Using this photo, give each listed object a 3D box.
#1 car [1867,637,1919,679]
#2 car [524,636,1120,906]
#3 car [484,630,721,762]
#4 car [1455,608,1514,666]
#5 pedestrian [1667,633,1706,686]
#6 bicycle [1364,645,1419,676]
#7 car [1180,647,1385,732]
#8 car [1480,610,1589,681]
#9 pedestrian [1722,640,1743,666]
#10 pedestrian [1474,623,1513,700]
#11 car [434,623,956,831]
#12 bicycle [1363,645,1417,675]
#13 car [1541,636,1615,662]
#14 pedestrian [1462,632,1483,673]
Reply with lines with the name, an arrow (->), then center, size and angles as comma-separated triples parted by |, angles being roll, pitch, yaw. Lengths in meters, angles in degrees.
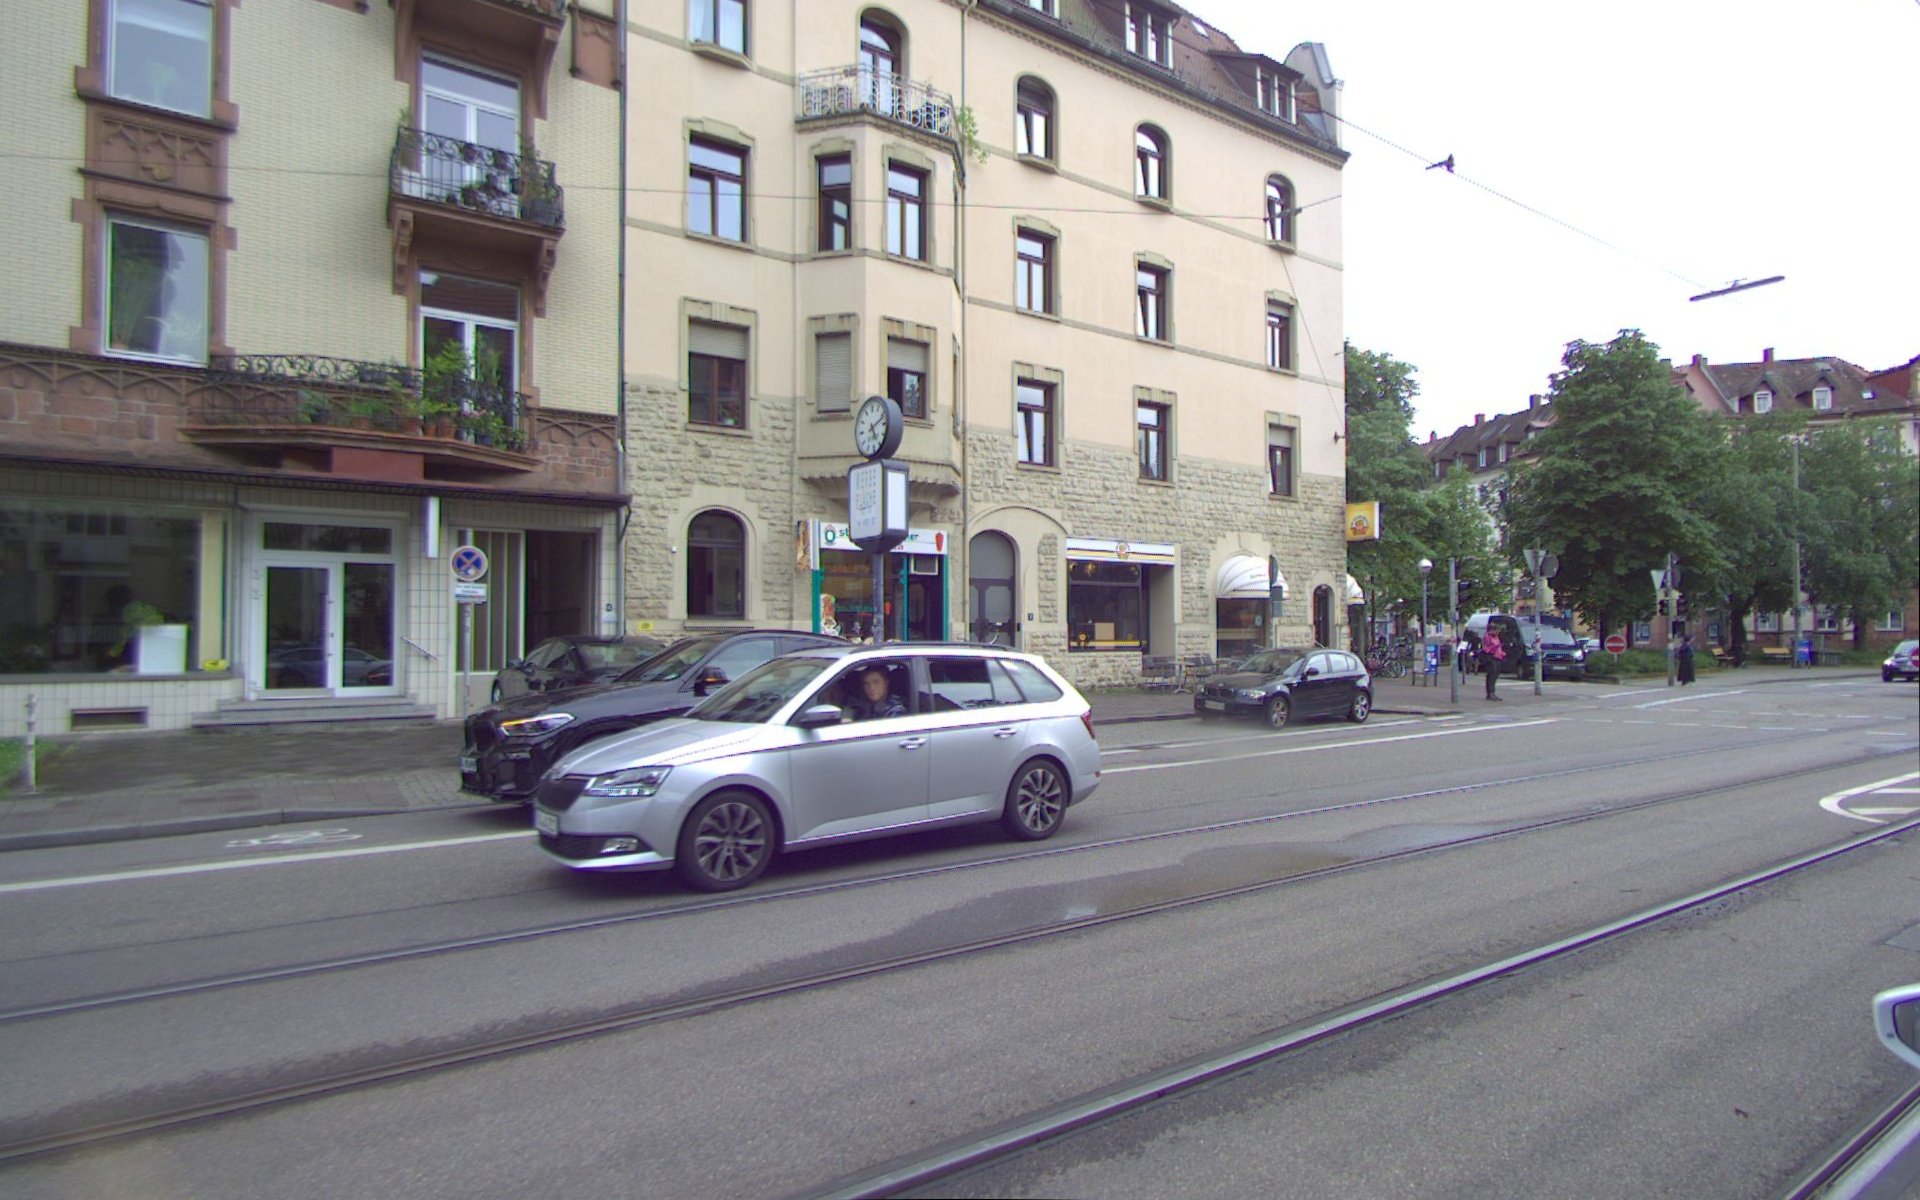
car -> 33.645, 2.012, 35.341 | 3.816, 1.400, 1.677 | 1, -3, -33
car -> -0.831, 0.997, 7.245 | 3.965, 1.429, 1.676 | 2, -4, -39
car -> -5.127, 1.189, 14.020 | 1.863, 1.388, 4.392 | 1, 0, -37
car -> 24.635, 1.743, 47.348 | 2.144, 2.560, 5.377 | -1, -2, 25
pedestrian -> 23.390, 1.908, 32.341 | 0.584, 1.685, 0.832 | 1, -2, -31
bicycle -> 15.689, 2.197, 36.555 | 1.777, 1.091, 0.359 | 0, -2, 11
car -> 6.249, 1.633, 19.299 | 4.090, 1.379, 1.637 | 2, 0, -36
car -> 21.377, 1.696, 37.630 | 2.142, 2.449, 5.384 | -1, -2, 14
pedestrian -> 34.467, 2.360, 44.833 | 0.579, 1.184, 0.844 | -1, -2, 28
pedestrian -> 13.126, 1.499, 24.734 | 0.604, 1.866, 0.619 | 1, -2, -35
car -> -2.470, 1.143, 10.259 | 4.852, 1.632, 1.867 | 2, -6, -42
bicycle -> 15.923, 2.220, 37.198 | 1.777, 1.091, 0.359 | 0, -2, 11
car -> 41.201, 3.272, 67.045 | 1.704, 1.644, 3.838 | 1, -3, -27
pedestrian -> 21.887, 2.244, 42.894 | 0.686, 1.738, 0.552 | -1, -2, 17
